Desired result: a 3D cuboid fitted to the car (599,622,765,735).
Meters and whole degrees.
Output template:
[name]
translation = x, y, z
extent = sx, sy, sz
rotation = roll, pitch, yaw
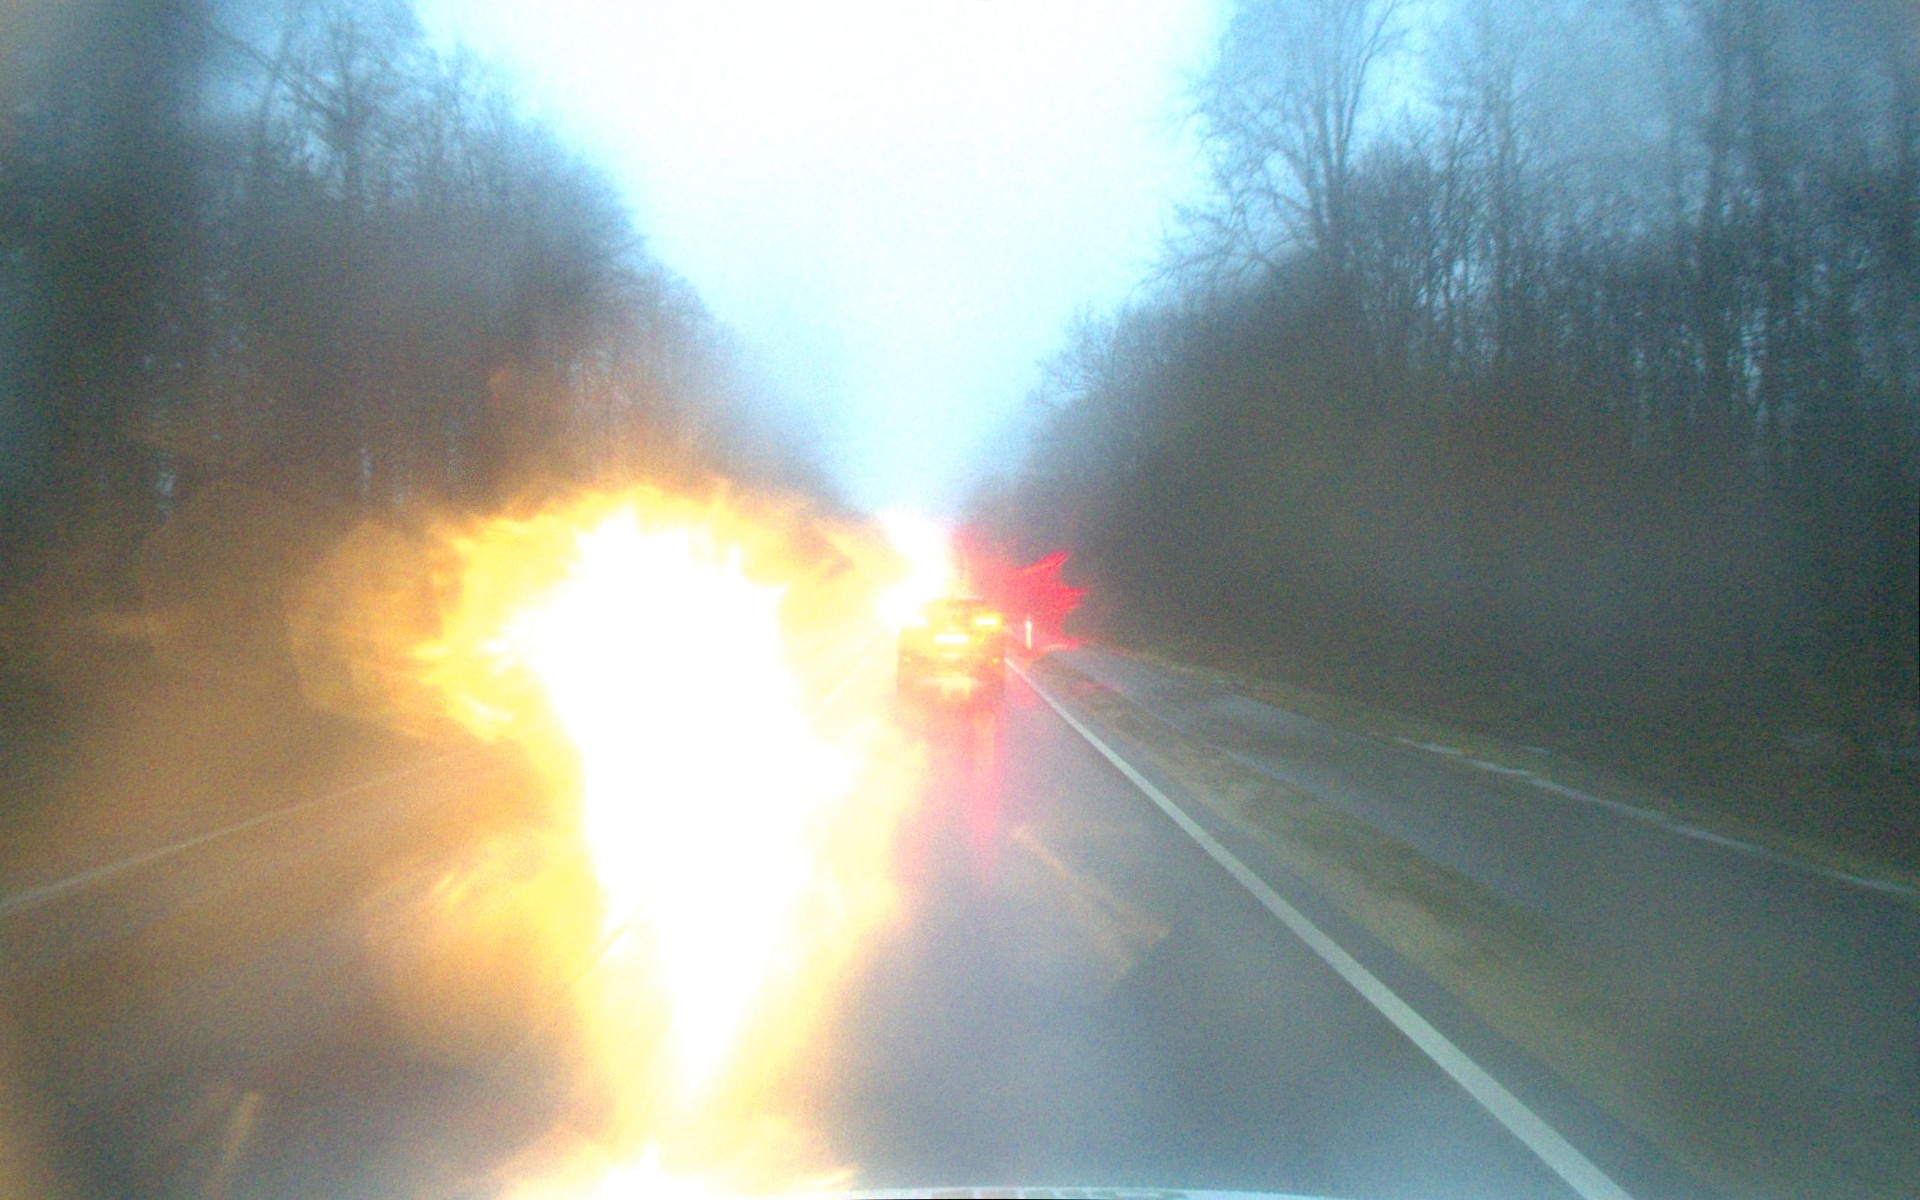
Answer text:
[car]
translation = -3.776, 1.019, 23.134
extent = 1.669, 1.387, 4.374
rotation = -1, 0, -2
